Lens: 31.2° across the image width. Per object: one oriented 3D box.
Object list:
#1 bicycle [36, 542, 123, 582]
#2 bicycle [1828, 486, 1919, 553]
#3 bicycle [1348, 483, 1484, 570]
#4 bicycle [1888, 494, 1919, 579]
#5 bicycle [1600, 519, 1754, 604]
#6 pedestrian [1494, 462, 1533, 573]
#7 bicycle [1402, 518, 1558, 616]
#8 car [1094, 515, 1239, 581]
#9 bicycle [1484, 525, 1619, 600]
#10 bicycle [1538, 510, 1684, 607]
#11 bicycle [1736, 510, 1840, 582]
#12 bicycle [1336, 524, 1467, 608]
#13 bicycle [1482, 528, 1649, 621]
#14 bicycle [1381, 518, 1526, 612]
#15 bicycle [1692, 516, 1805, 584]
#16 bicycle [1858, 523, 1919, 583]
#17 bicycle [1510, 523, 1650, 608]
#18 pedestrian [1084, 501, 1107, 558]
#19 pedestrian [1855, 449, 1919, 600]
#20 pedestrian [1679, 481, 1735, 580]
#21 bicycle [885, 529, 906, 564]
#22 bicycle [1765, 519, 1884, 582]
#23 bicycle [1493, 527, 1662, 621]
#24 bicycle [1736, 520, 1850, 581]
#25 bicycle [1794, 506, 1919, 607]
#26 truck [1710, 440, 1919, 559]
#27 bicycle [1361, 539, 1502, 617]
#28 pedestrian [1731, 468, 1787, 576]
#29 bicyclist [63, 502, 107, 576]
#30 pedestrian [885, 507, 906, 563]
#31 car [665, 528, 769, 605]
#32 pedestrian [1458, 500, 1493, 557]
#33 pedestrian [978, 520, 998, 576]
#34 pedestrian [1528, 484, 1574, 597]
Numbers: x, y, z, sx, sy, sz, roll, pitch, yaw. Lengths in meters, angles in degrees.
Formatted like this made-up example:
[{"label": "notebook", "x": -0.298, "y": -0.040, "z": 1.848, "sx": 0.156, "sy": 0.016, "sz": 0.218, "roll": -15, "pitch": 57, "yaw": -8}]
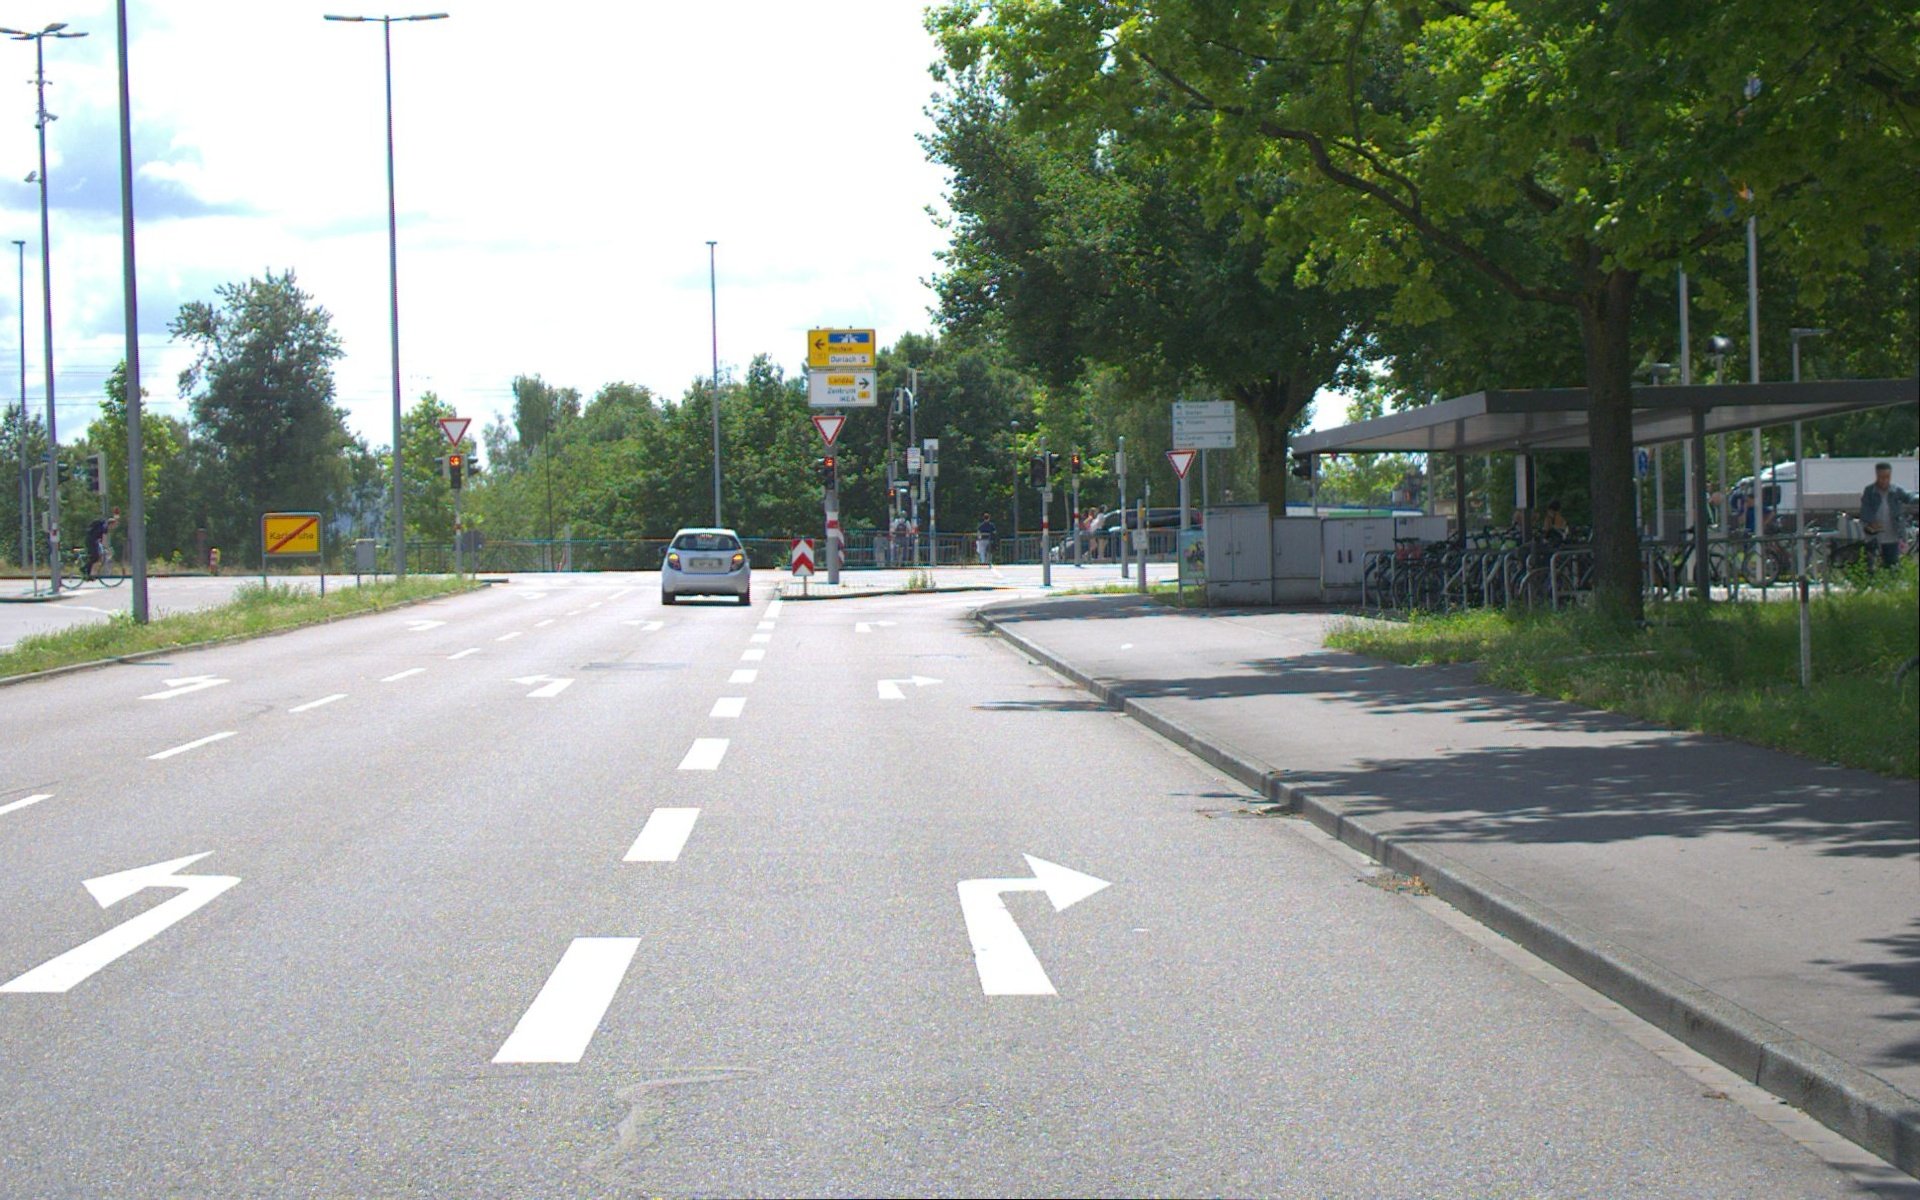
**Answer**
[{"label": "bicycle", "x": -22.261, "y": -0.967, "z": 86.933, "sx": 2.017, "sy": 0.996, "sz": 0.622, "roll": 1, "pitch": 1, "yaw": -2}, {"label": "bicycle", "x": 14.953, "y": -1.311, "z": 55.255, "sx": 1.861, "sy": 0.991, "sz": 0.424, "roll": -3, "pitch": 0, "yaw": -6}, {"label": "bicycle", "x": 6.646, "y": -1.070, "z": 50.121, "sx": 1.861, "sy": 1.183, "sz": 0.424, "roll": -3, "pitch": 1, "yaw": -6}, {"label": "bicycle", "x": 14.713, "y": -0.970, "z": 50.185, "sx": 2.140, "sy": 1.225, "sz": 0.721, "roll": -3, "pitch": 1, "yaw": 8}, {"label": "bicycle", "x": 9.286, "y": -0.495, "z": 44.548, "sx": 1.861, "sy": 0.991, "sz": 0.424, "roll": -3, "pitch": 0, "yaw": -6}, {"label": "pedestrian", "x": 8.393, "y": -1.257, "z": 52.156, "sx": 0.544, "sy": 1.656, "sz": 0.546, "roll": -1, "pitch": 2, "yaw": 9}, {"label": "bicycle", "x": 6.693, "y": -0.425, "z": 44.287, "sx": 1.896, "sy": 1.166, "sz": 0.424, "roll": -3, "pitch": 1, "yaw": 0}, {"label": "car", "x": 6.046, "y": -1.546, "z": 101.040, "sx": 3.986, "sy": 1.776, "sz": 1.910, "roll": -2, "pitch": 1, "yaw": -4}, {"label": "bicycle", "x": 8.672, "y": -0.554, "z": 50.423, "sx": 1.862, "sy": 1.030, "sz": 0.424, "roll": -2, "pitch": 1, "yaw": 0}, {"label": "bicycle", "x": 8.832, "y": -0.561, "z": 46.636, "sx": 1.861, "sy": 1.227, "sz": 0.424, "roll": -3, "pitch": 1, "yaw": -6}, {"label": "bicycle", "x": 14.123, "y": -0.924, "z": 58.665, "sx": 1.676, "sy": 1.153, "sz": 0.462, "roll": -3, "pitch": 1, "yaw": -16}, {"label": "bicycle", "x": 6.612, "y": -0.512, "z": 51.449, "sx": 1.861, "sy": 1.183, "sz": 0.424, "roll": -2, "pitch": 1, "yaw": -6}, {"label": "bicycle", "x": 7.198, "y": -0.309, "z": 40.865, "sx": 1.861, "sy": 0.991, "sz": 0.424, "roll": -4, "pitch": 1, "yaw": -6}, {"label": "bicycle", "x": 6.676, "y": -0.480, "z": 46.515, "sx": 1.861, "sy": 1.183, "sz": 0.424, "roll": -3, "pitch": 1, "yaw": -6}, {"label": "bicycle", "x": 13.970, "y": -0.890, "z": 60.904, "sx": 1.919, "sy": 1.104, "sz": 0.504, "roll": -3, "pitch": -1, "yaw": -20}, {"label": "bicycle", "x": 14.731, "y": -0.739, "z": 52.594, "sx": 1.861, "sy": 0.879, "sz": 0.424, "roll": -3, "pitch": 1, "yaw": -6}, {"label": "bicycle", "x": 8.751, "y": -0.487, "z": 48.511, "sx": 1.861, "sy": 1.112, "sz": 0.424, "roll": -2, "pitch": 1, "yaw": -7}, {"label": "pedestrian", "x": 4.244, "y": -2.213, "z": 107.545, "sx": 0.676, "sy": 1.742, "sz": 0.637, "roll": -1, "pitch": 3, "yaw": 0}, {"label": "pedestrian", "x": 10.850, "y": -0.879, "z": 40.018, "sx": 0.634, "sy": 1.716, "sz": 0.523, "roll": -2, "pitch": 0, "yaw": 34}, {"label": "pedestrian", "x": 14.558, "y": -1.347, "z": 67.040, "sx": 1.008, "sy": 1.895, "sz": 0.973, "roll": -1, "pitch": 0, "yaw": 12}, {"label": "bicycle", "x": -2.024, "y": -1.703, "z": 108.649, "sx": 0.619, "sy": 1.083, "sz": 1.722, "roll": -1, "pitch": 1, "yaw": 0}, {"label": "bicycle", "x": 14.333, "y": -0.821, "z": 57.009, "sx": 1.861, "sy": 0.991, "sz": 0.465, "roll": -2, "pitch": 1, "yaw": -6}, {"label": "bicycle", "x": 7.250, "y": -0.305, "z": 40.376, "sx": 1.861, "sy": 0.991, "sz": 0.424, "roll": -3, "pitch": 1, "yaw": -6}, {"label": "bicycle", "x": 14.465, "y": -0.864, "z": 59.709, "sx": 1.862, "sy": 0.991, "sz": 0.424, "roll": -2, "pitch": 1, "yaw": 0}, {"label": "bicycle", "x": 10.692, "y": -0.515, "z": 39.539, "sx": 2.012, "sy": 1.104, "sz": 0.576, "roll": -2, "pitch": 1, "yaw": 36}, {"label": "truck", "x": 33.219, "y": -3.637, "z": 123.252, "sx": 11.957, "sy": 4.090, "sz": 2.952, "roll": -1, "pitch": 1, "yaw": -2}, {"label": "bicycle", "x": 6.573, "y": -0.310, "z": 47.947, "sx": 1.861, "sy": 0.991, "sz": 0.424, "roll": -3, "pitch": 1, "yaw": -6}, {"label": "pedestrian", "x": 15.678, "y": -1.528, "z": 67.445, "sx": 1.008, "sy": 2.065, "sz": 0.973, "roll": -1, "pitch": -1, "yaw": 12}, {"label": "bicyclist", "x": -22.125, "y": -1.537, "z": 86.925, "sx": 0.921, "sy": 1.840, "sz": 0.611, "roll": -1, "pitch": 1, "yaw": -3}, {"label": "pedestrian", "x": -2.028, "y": -2.061, "z": 108.607, "sx": 0.611, "sy": 1.763, "sz": 0.672, "roll": -1, "pitch": 1, "yaw": -1}, {"label": "car", "x": -4.805, "y": -0.695, "z": 68.397, "sx": 1.894, "sy": 1.464, "sz": 3.834, "roll": 0, "pitch": 1, "yaw": -2}, {"label": "pedestrian", "x": 16.285, "y": -2.260, "z": 108.654, "sx": 0.927, "sy": 1.801, "sz": 0.736, "roll": -1, "pitch": 1, "yaw": -3}, {"label": "pedestrian", "x": 0.861, "y": -1.605, "z": 105.636, "sx": 0.523, "sy": 1.715, "sz": 0.730, "roll": -2, "pitch": 1, "yaw": 2}, {"label": "pedestrian", "x": 8.786, "y": -0.885, "z": 51.100, "sx": 0.544, "sy": 1.656, "sz": 0.478, "roll": -2, "pitch": 1, "yaw": -3}]
